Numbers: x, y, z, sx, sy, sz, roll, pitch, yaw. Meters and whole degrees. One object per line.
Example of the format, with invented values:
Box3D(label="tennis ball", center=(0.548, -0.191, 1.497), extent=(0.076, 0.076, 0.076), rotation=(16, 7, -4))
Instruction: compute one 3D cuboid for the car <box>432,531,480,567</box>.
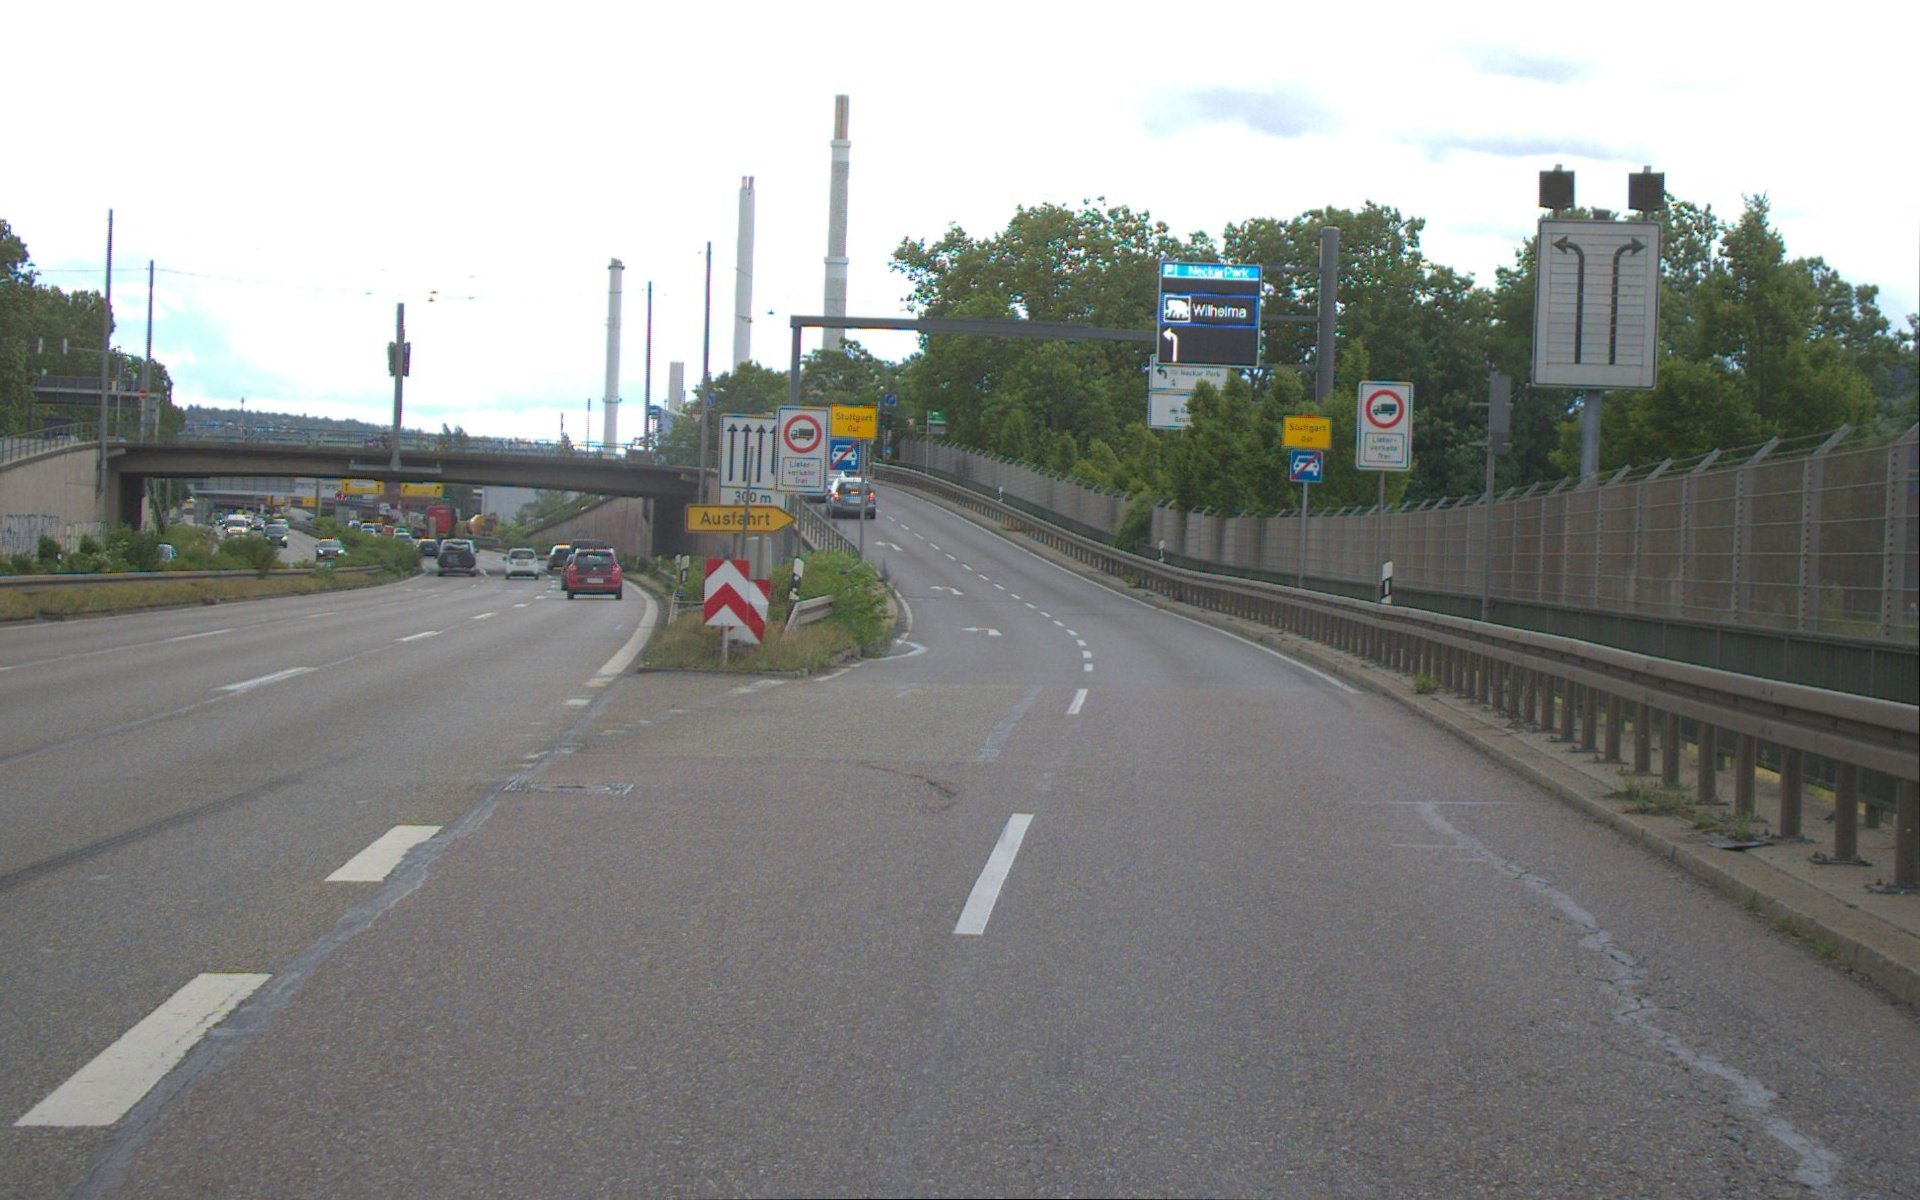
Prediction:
Box3D(label="car", center=(-25.630, -2.607, 175.016), extent=(1.993, 1.678, 4.001), rotation=(3, 2, -3))

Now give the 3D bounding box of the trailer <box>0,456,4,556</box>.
Box3D(label="trailer", center=(-30.169, -2.409, 98.653), extent=(2.789, 3.935, 13.516), rotation=(3, 0, -5))

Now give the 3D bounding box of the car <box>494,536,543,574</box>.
Box3D(label="car", center=(-21.392, -2.175, 166.657), extent=(1.993, 1.678, 4.001), rotation=(3, 2, -3))

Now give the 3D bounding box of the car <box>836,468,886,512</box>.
Box3D(label="car", center=(-3.906, -4.353, 136.124), extent=(1.750, 1.575, 4.085), rotation=(3, 1, 0))

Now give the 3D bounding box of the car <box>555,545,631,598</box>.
Box3D(label="car", center=(-11.163, -0.884, 104.421), extent=(1.993, 1.415, 4.001), rotation=(2, 2, -10))
